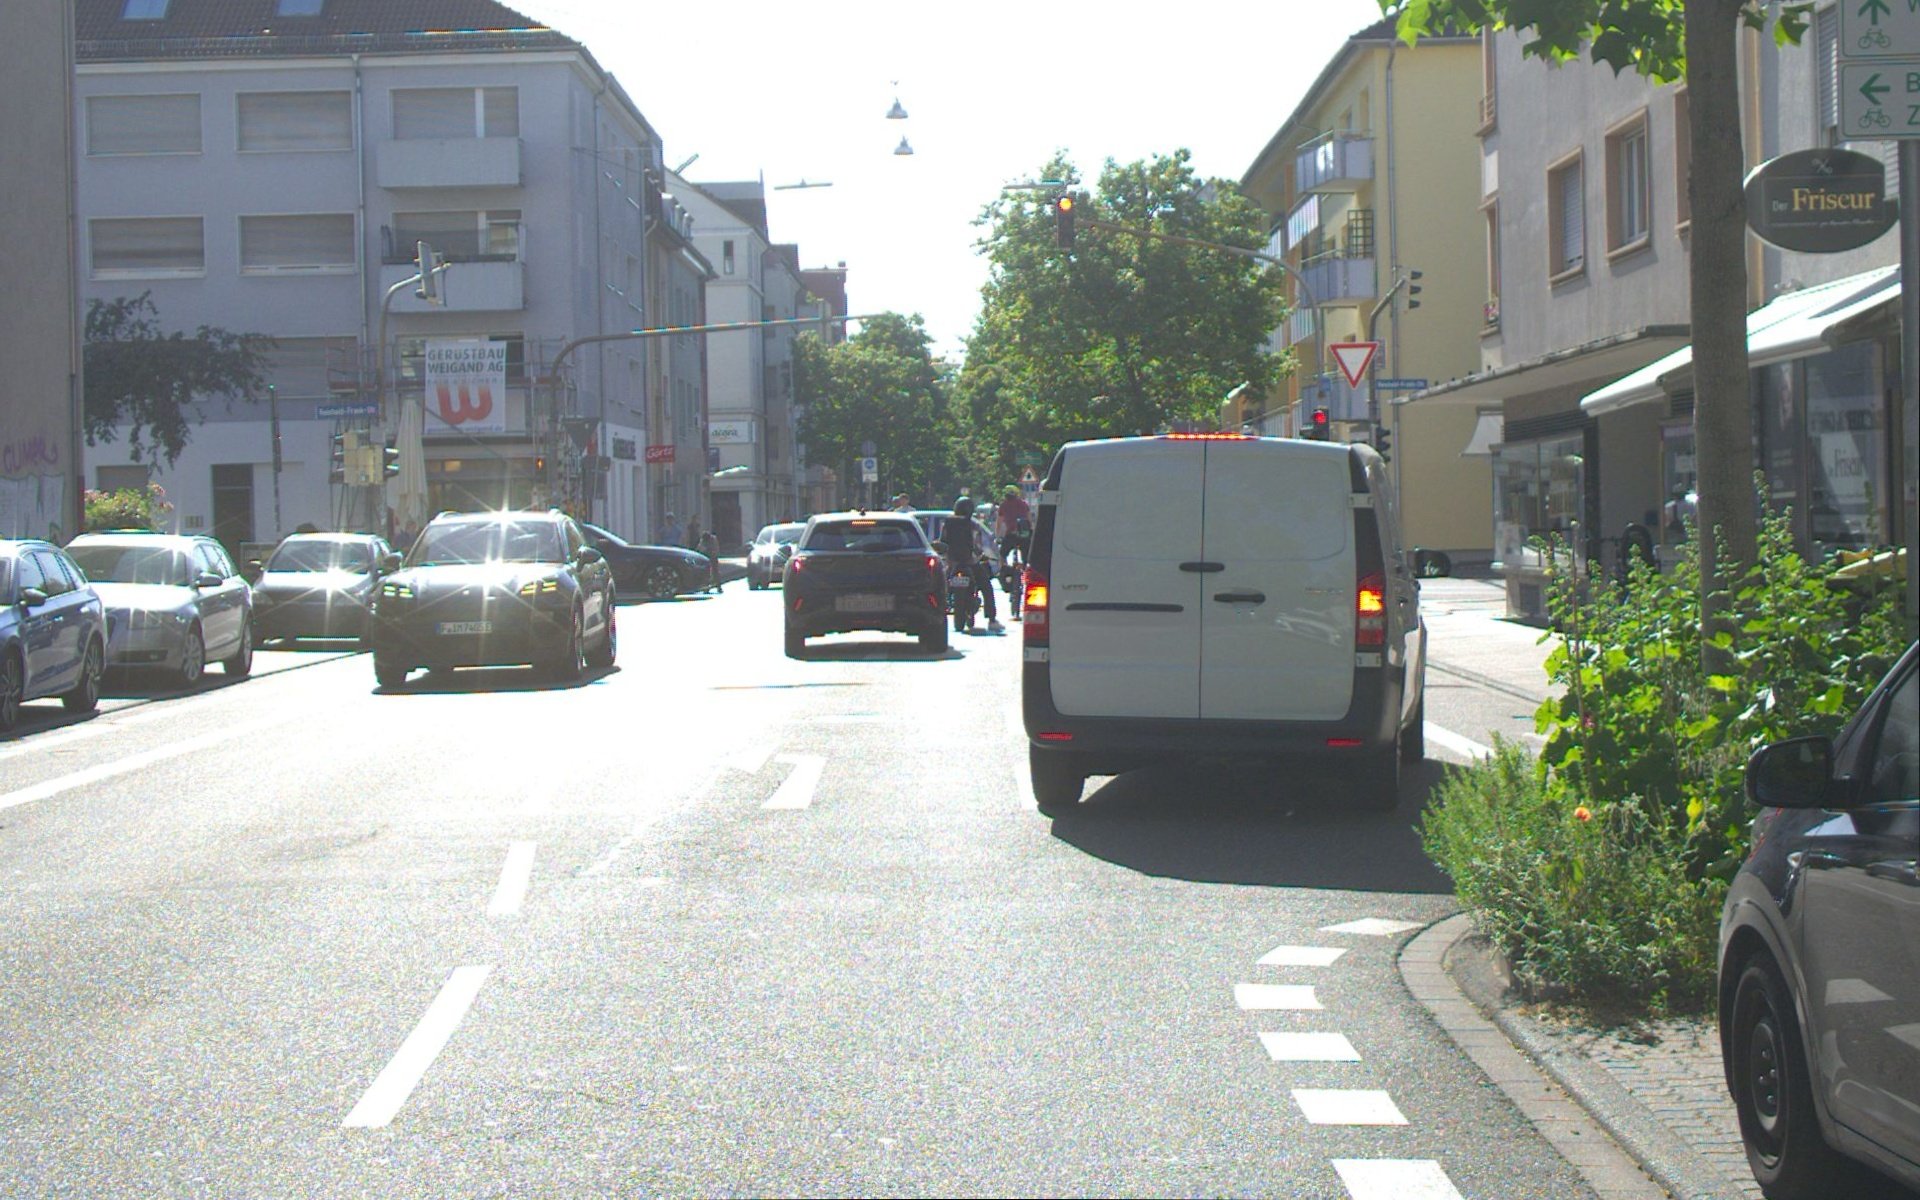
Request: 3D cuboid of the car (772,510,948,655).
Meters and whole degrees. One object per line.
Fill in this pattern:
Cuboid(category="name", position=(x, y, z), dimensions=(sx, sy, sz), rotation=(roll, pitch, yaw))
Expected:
Cuboid(category="car", position=(-1.103, -0.228, 38.284), dimensions=(1.844, 1.502, 4.000), rotation=(-1, 1, -1))

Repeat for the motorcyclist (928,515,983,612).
Cuboid(category="motorcyclist", position=(-0.060, -0.475, 44.079), dimensions=(0.658, 1.223, 0.694), rotation=(-1, 1, -1))

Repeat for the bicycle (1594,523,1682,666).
Cuboid(category="bicycle", position=(6.284, -0.061, 31.903), dimensions=(0.475, 1.270, 1.218), rotation=(-4, 1, -1))

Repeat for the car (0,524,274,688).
Cuboid(category="car", position=(-8.184, 0.006, 34.269), dimensions=(1.776, 1.464, 4.760), rotation=(2, 1, -1))

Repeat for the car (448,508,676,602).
Cuboid(category="car", position=(-7.182, -0.829, 62.386), dimensions=(3.986, 1.634, 2.000), rotation=(-1, 1, -3))

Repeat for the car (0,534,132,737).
Cuboid(category="car", position=(-8.158, 0.229, 27.935), dimensions=(1.721, 1.491, 4.626), rotation=(2, 1, 0))

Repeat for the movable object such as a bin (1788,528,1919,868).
Cuboid(category="movable object such as a bin", position=(4.253, 0.375, 14.132), dimensions=(1.268, 1.343, 1.108), rotation=(-2, 2, -42))

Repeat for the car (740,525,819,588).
Cuboid(category="car", position=(-4.079, -1.010, 78.193), dimensions=(1.618, 1.393, 3.731), rotation=(0, 1, 0))

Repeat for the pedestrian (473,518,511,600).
Cuboid(category="pedestrian", position=(-9.605, -0.849, 70.543), dimensions=(0.683, 1.658, 0.601), rotation=(-1, 1, -1))

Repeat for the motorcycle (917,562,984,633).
Cuboid(category="motorcycle", position=(-0.133, -0.043, 44.062), dimensions=(0.807, 0.860, 1.823), rotation=(-1, 1, -1))

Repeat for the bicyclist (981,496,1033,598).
Cuboid(category="bicyclist", position=(0.675, -0.767, 49.541), dimensions=(0.683, 1.444, 0.940), rotation=(-1, 1, -1))

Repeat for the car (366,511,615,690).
Cuboid(category="car", position=(-4.546, -0.042, 33.886), dimensions=(1.867, 1.608, 4.428), rotation=(-1, 1, -1))

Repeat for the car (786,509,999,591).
Cuboid(category="car", position=(-1.288, -0.960, 65.701), dimensions=(3.987, 1.481, 1.727), rotation=(-1, 1, -1))

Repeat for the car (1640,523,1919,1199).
Cuboid(category="car", position=(2.513, 0.583, 6.446), dimensions=(1.635, 1.470, 3.581), rotation=(-1, 1, -2))

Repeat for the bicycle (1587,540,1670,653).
Cuboid(category="bicycle", position=(6.826, -0.051, 35.149), dimensions=(0.523, 1.115, 1.534), rotation=(-1, 1, -1))

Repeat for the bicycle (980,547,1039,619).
Cuboid(category="bicycle", position=(0.700, -0.253, 49.346), dimensions=(0.775, 0.989, 1.717), rotation=(-1, 1, -1))

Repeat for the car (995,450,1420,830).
Cuboid(category="car", position=(1.486, 0.144, 18.805), dimensions=(1.985, 1.816, 4.545), rotation=(0, 1, 8))

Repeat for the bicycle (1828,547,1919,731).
Cuboid(category="bicycle", position=(6.745, 0.264, 24.710), dimensions=(0.548, 1.265, 1.883), rotation=(2, 1, 2))

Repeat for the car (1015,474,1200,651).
Cuboid(category="car", position=(1.670, -0.461, 40.331), dimensions=(1.815, 1.914, 4.645), rotation=(-1, 1, -1))

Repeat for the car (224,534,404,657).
Cuboid(category="car", position=(-8.305, -0.091, 44.480), dimensions=(1.653, 1.474, 4.000), rotation=(1, 1, -1))
